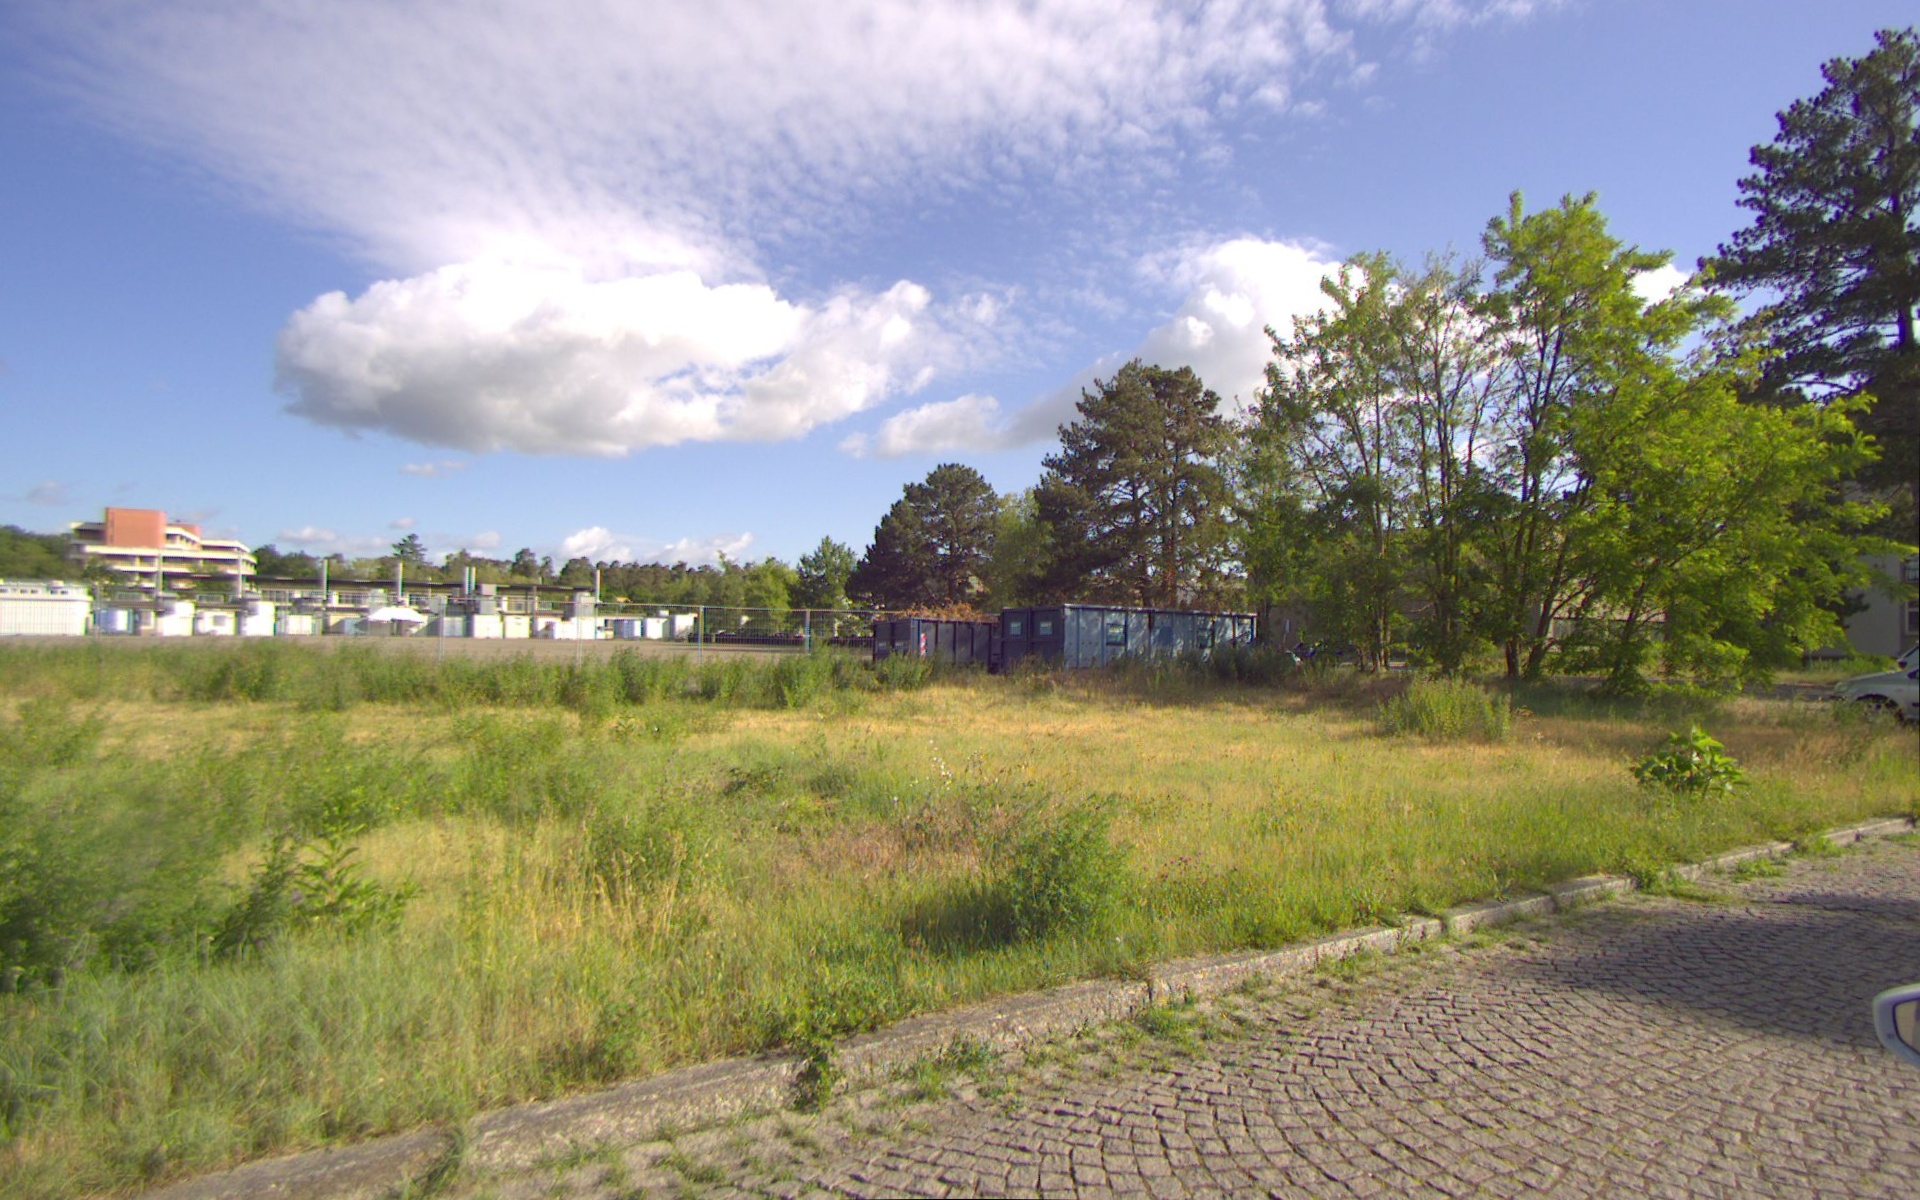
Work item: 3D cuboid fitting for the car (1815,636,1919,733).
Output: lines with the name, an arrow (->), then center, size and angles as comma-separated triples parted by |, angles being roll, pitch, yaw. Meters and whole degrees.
car -> 16.442, 1.423, 16.189 | 1.628, 1.507, 3.723 | 1, 0, -33

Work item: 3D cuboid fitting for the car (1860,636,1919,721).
car -> 18.659, 1.480, 17.605 | 1.784, 1.500, 3.963 | 1, 0, -33

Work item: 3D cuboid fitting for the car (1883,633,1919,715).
car -> 20.901, 1.558, 19.490 | 1.865, 1.614, 4.055 | 1, 0, -33

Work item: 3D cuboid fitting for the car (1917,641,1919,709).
car -> 22.889, 1.713, 20.692 | 1.811, 1.488, 4.307 | 1, 0, -33

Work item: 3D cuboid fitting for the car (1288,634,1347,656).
car -> 25.630, 3.220, 72.011 | 3.954, 1.452, 1.893 | 3, -2, -31
